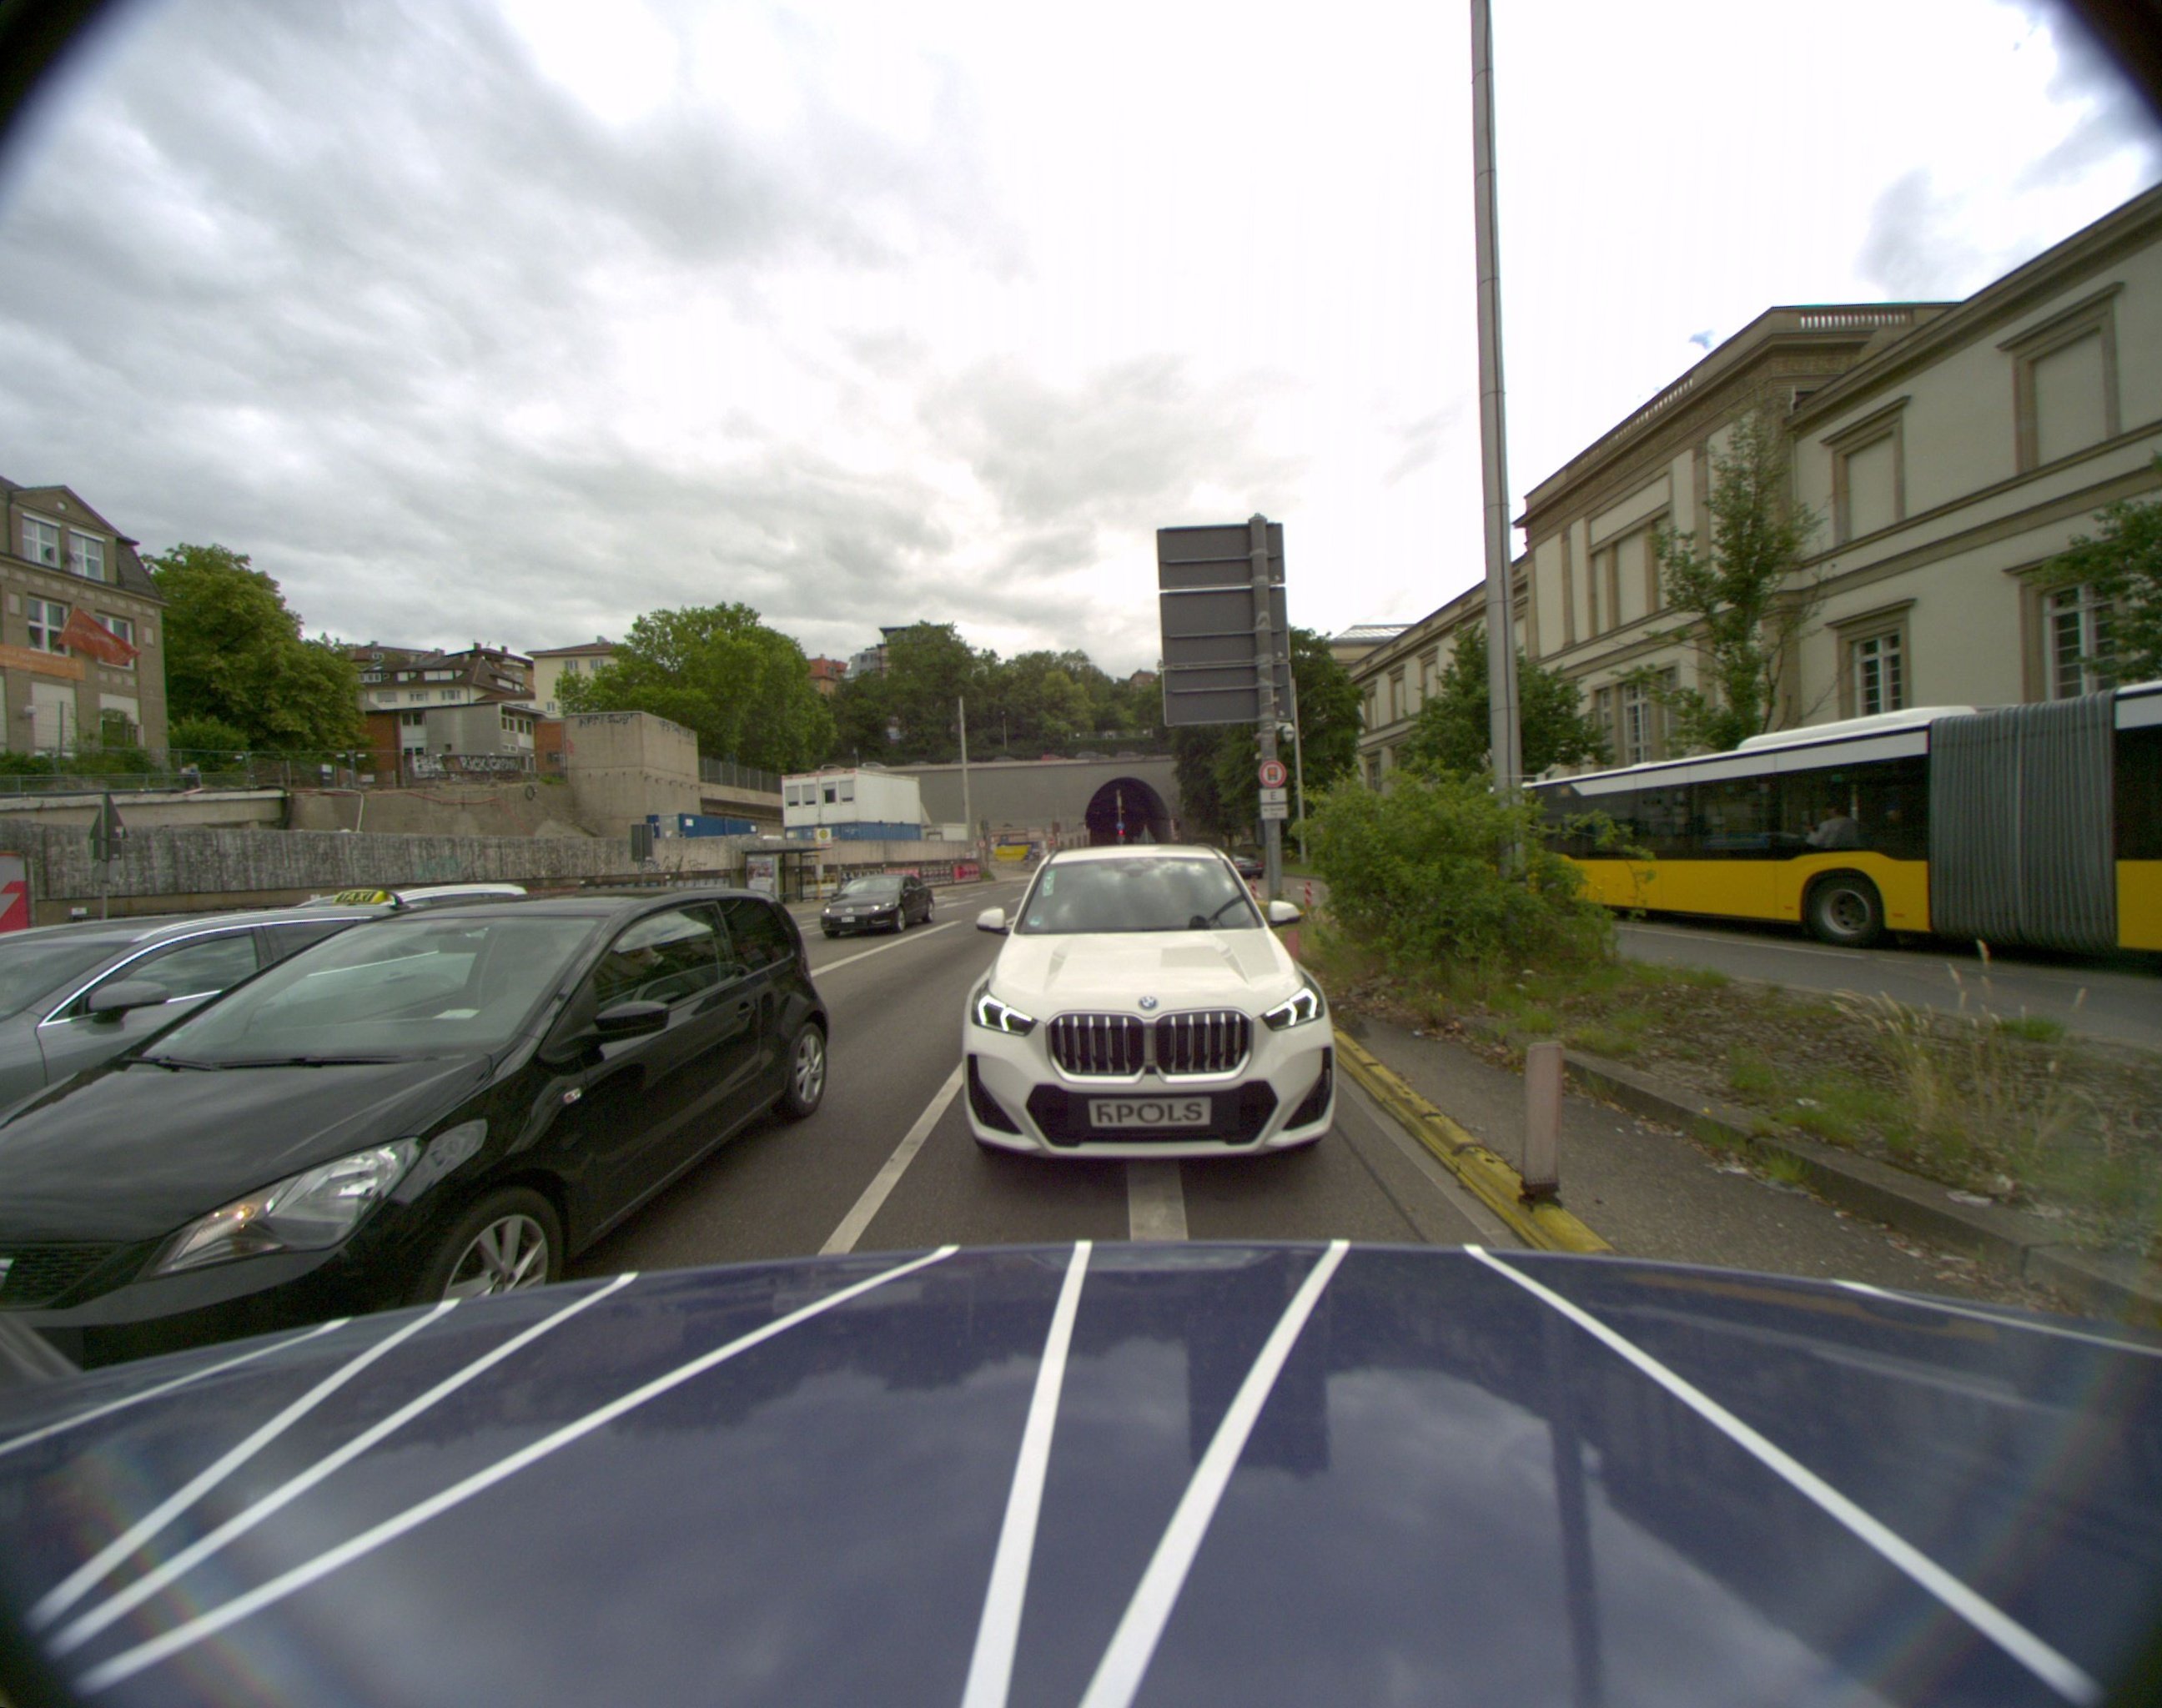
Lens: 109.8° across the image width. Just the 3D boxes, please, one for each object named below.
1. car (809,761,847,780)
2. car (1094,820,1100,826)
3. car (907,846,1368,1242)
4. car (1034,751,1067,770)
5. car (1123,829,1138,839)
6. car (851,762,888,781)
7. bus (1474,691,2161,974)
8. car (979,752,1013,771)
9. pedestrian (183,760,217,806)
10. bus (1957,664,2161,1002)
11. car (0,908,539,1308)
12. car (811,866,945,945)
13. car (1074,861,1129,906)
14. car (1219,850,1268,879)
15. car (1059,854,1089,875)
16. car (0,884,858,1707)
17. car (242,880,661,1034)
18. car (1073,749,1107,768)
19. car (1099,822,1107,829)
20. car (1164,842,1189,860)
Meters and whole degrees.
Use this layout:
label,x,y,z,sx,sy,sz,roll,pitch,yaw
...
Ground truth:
label,x,y,z,sx,sy,sz,roll,pitch,yaw
car,-31.055,-10.269,93.305,3.998,2.002,1.999,-2,1,-5
car,4.192,-8.051,198.179,1.667,1.582,3.882,-1,0,2
car,0.297,0.797,5.116,1.848,1.581,3.882,-3,0,2
car,-3.769,-11.657,94.396,3.998,2.002,1.999,-2,1,-2
car,7.308,-2.963,113.020,1.711,1.505,4.287,0,0,-3
car,-26.006,-10.082,93.368,3.998,2.002,1.999,-2,1,-5
bus,11.153,-0.259,13.527,2.853,3.096,9.746,-3,0,-2
car,-10.475,-11.409,94.002,3.998,2.002,1.999,-2,1,-2
pedestrian,-39.654,-3.202,34.210,0.646,2.002,0.666,-2,1,-3
bus,11.338,-0.243,3.995,2.853,3.096,9.121,-3,0,0
car,-5.799,1.311,4.343,1.826,1.562,4.654,-3,0,3
car,-4.876,1.168,18.960,1.704,1.550,4.552,-3,0,5
car,0.683,0.980,26.604,1.728,1.310,4.000,-3,0,1
car,9.195,0.540,43.336,1.705,1.463,4.629,-3,0,-1
car,-0.495,0.734,56.719,1.730,1.435,4.001,-3,0,5
car,-2.503,1.001,3.406,1.667,1.487,3.882,-3,0,2
car,-8.676,1.298,11.148,1.703,1.550,4.555,-3,0,13
car,1.109,-11.836,94.480,3.998,2.002,1.999,-2,1,-2
car,5.041,-6.531,174.685,1.667,1.582,3.882,-1,0,2
car,8.840,-0.293,70.861,1.701,1.580,3.882,-3,0,-1
